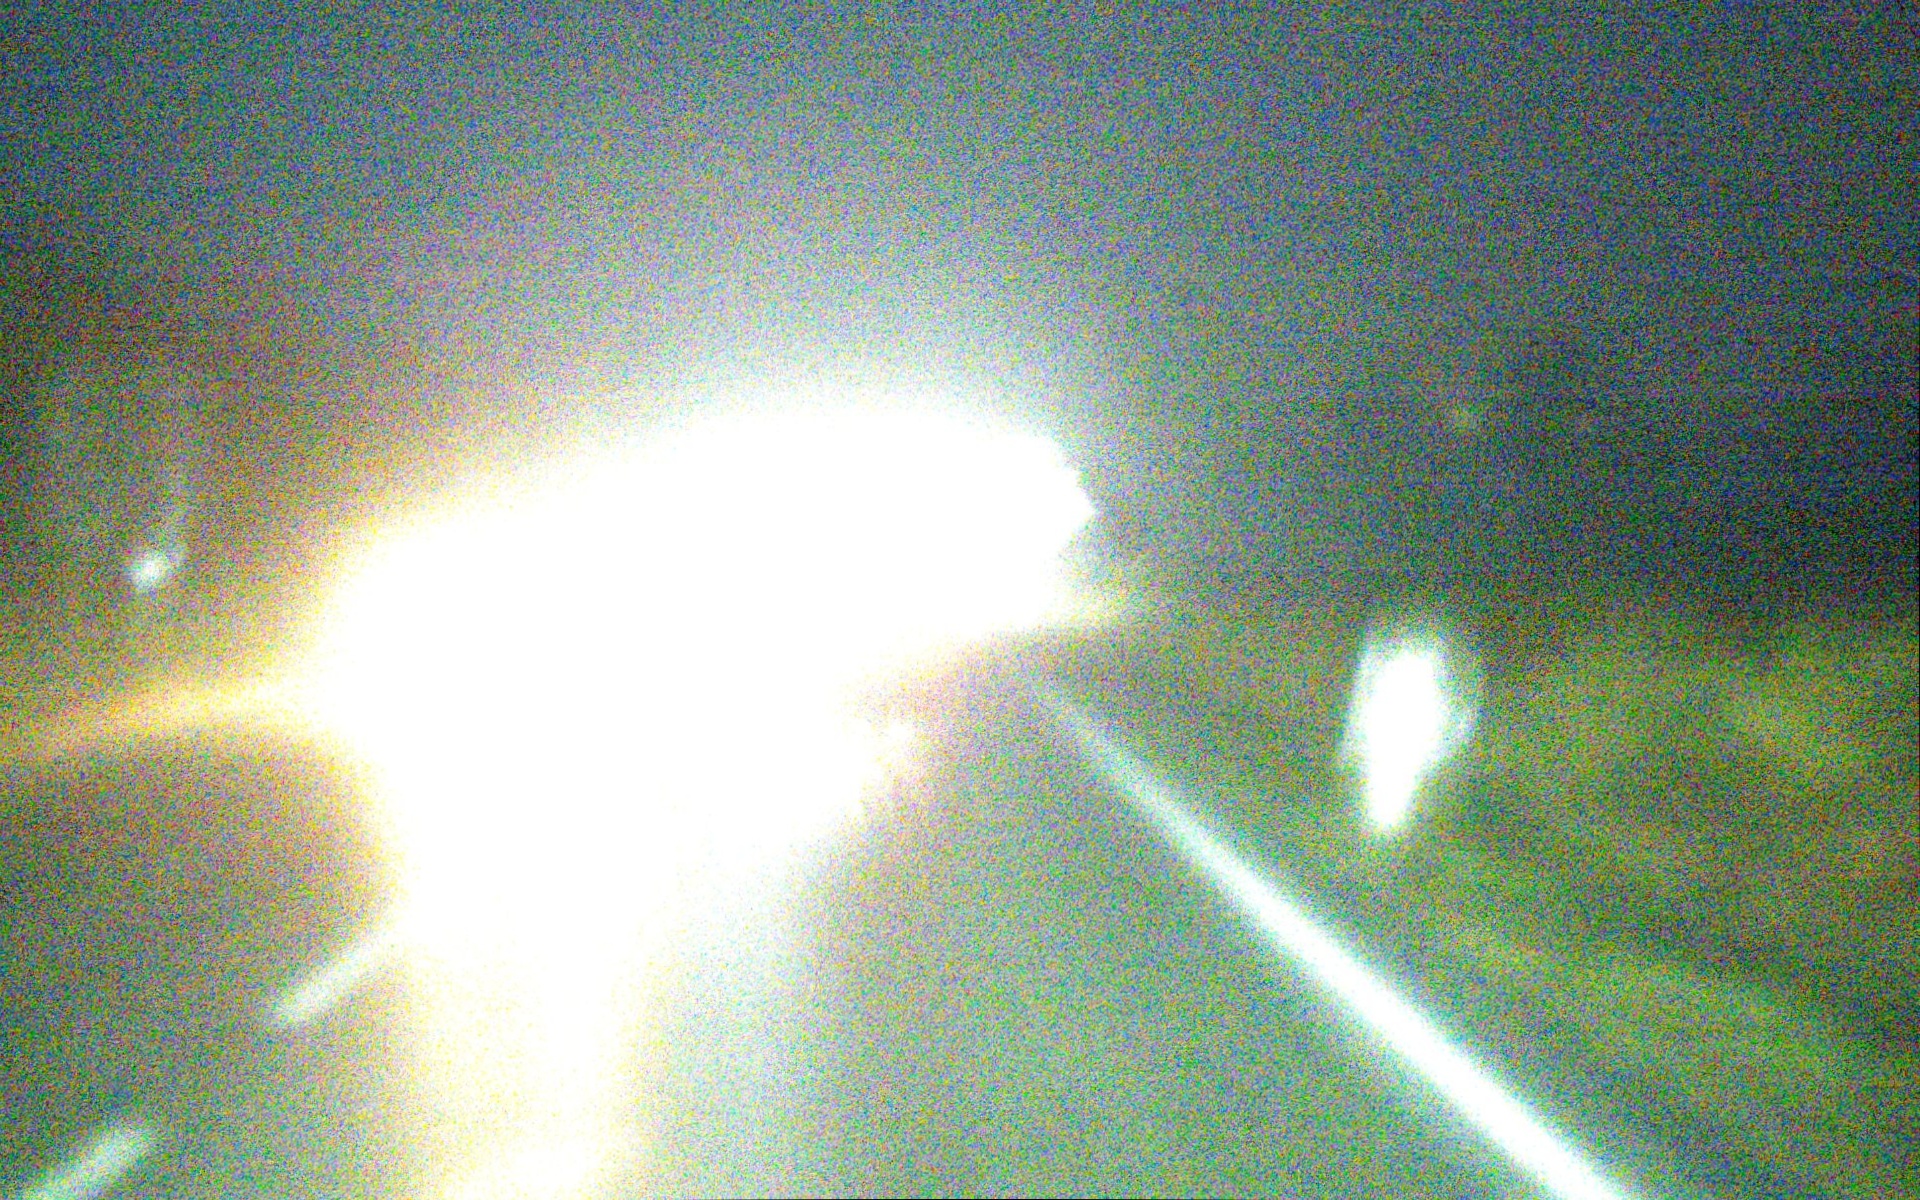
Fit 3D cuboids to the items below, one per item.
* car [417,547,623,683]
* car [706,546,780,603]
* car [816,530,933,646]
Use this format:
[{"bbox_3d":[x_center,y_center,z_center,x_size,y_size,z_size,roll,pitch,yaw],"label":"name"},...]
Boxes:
[{"bbox_3d":[-5.182,0.146,40.980,1.993,1.543,4.000,0,1,-1],"label":"car"},{"bbox_3d":[-6.661,-0.792,105.306,1.993,1.655,4.001,1,1,-7],"label":"car"},{"bbox_3d":[-1.422,-0.233,57.918,1.842,1.734,4.001,2,2,-1],"label":"car"}]
